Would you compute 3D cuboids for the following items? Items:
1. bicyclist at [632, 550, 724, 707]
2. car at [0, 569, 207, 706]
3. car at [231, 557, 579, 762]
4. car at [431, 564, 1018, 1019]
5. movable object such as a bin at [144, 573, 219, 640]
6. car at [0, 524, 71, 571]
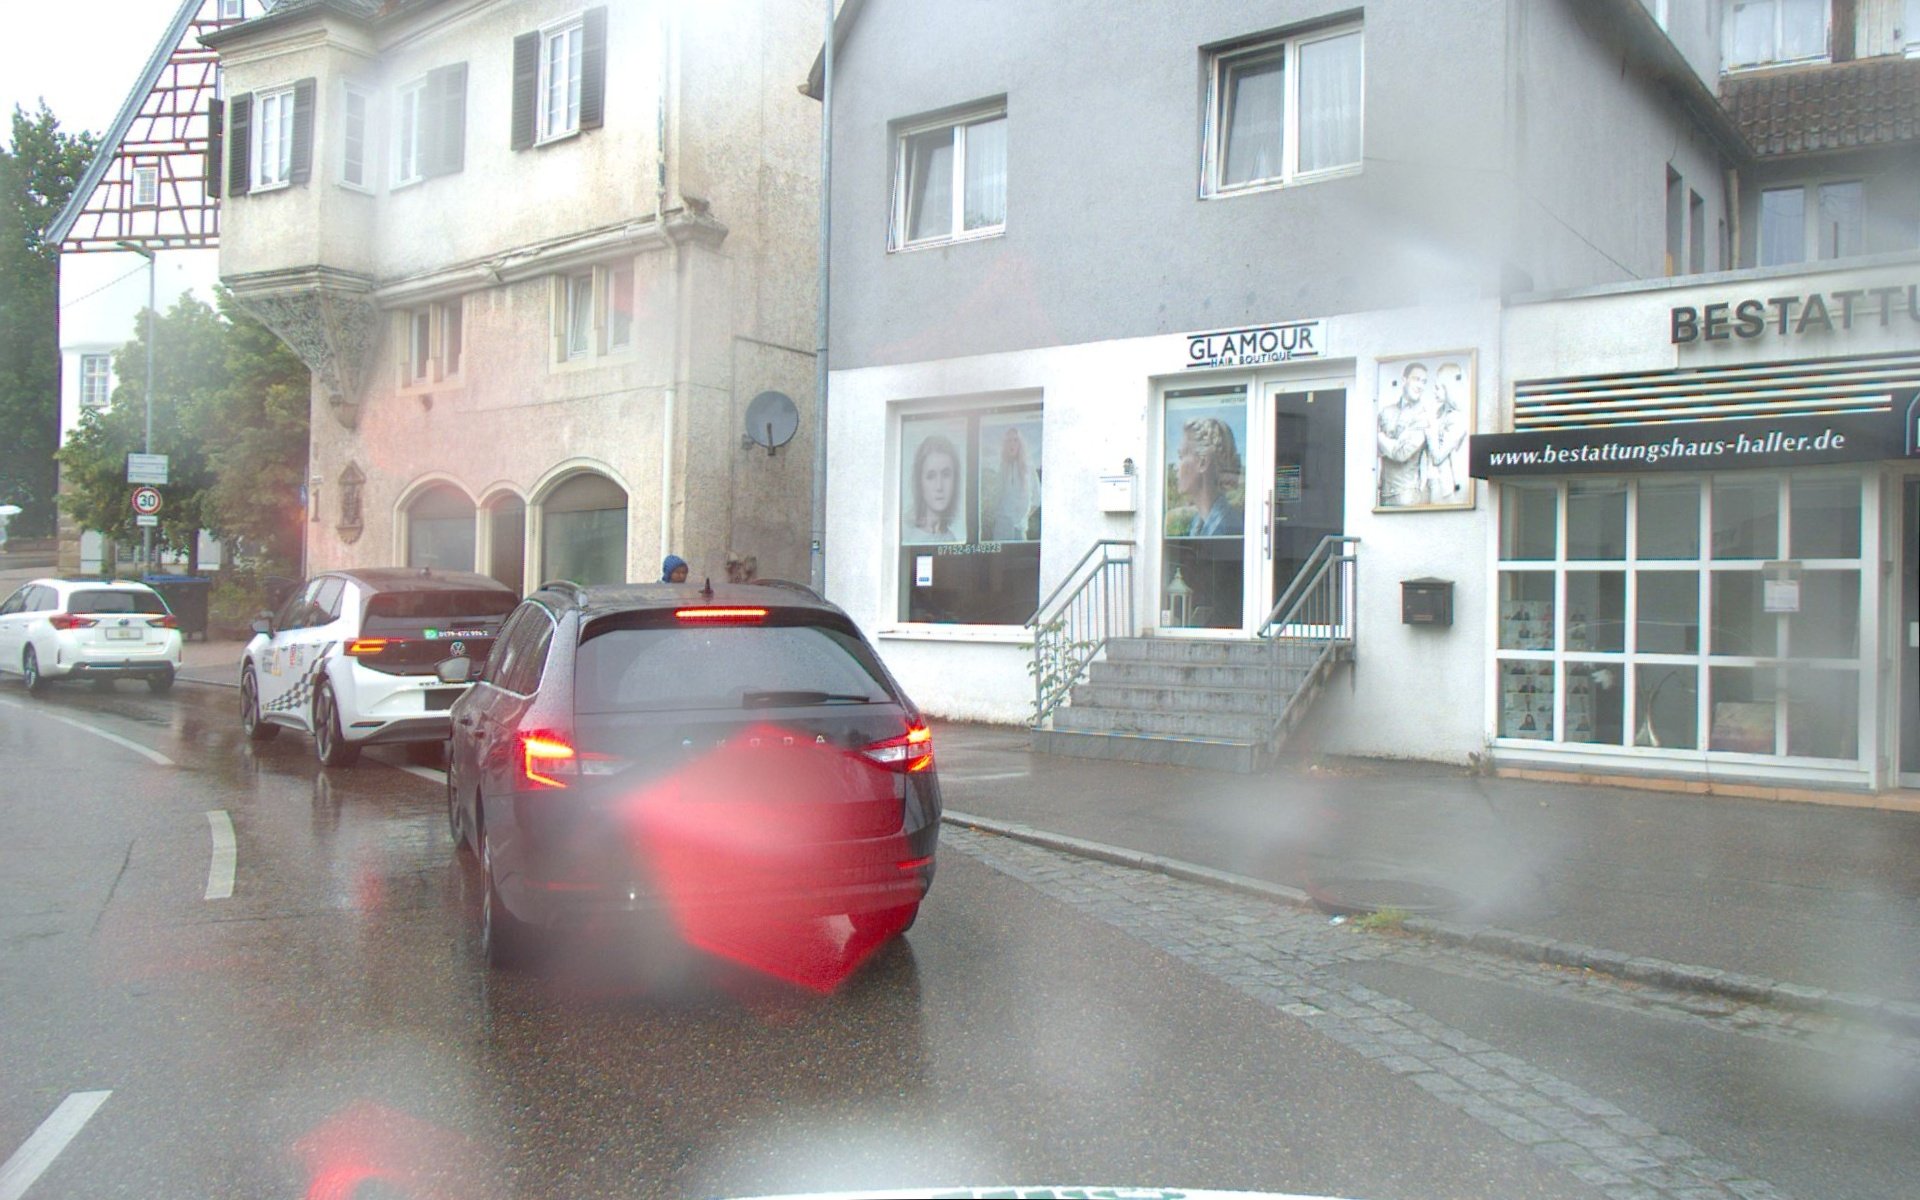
[{"bbox_3d":[-2.877,0.270,16.816,0.674,1.544,1.023,1,1,-23],"label":"bicyclist"},{"bbox_3d":[-12.001,0.446,22.627,1.875,1.623,4.260,1,1,-42],"label":"car"},{"bbox_3d":[-4.935,0.418,14.363,1.841,1.498,3.952,2,1,-35],"label":"car"},{"bbox_3d":[-1.406,0.602,7.749,1.859,1.473,4.332,2,1,-20],"label":"car"},{"bbox_3d":[-15.849,0.129,33.673,1.147,1.336,1.170,1,0,-39],"label":"movable object such as a bin"},{"bbox_3d":[-35.347,-1.957,60.596,1.958,1.619,4.467,1,0,32],"label":"car"}]
